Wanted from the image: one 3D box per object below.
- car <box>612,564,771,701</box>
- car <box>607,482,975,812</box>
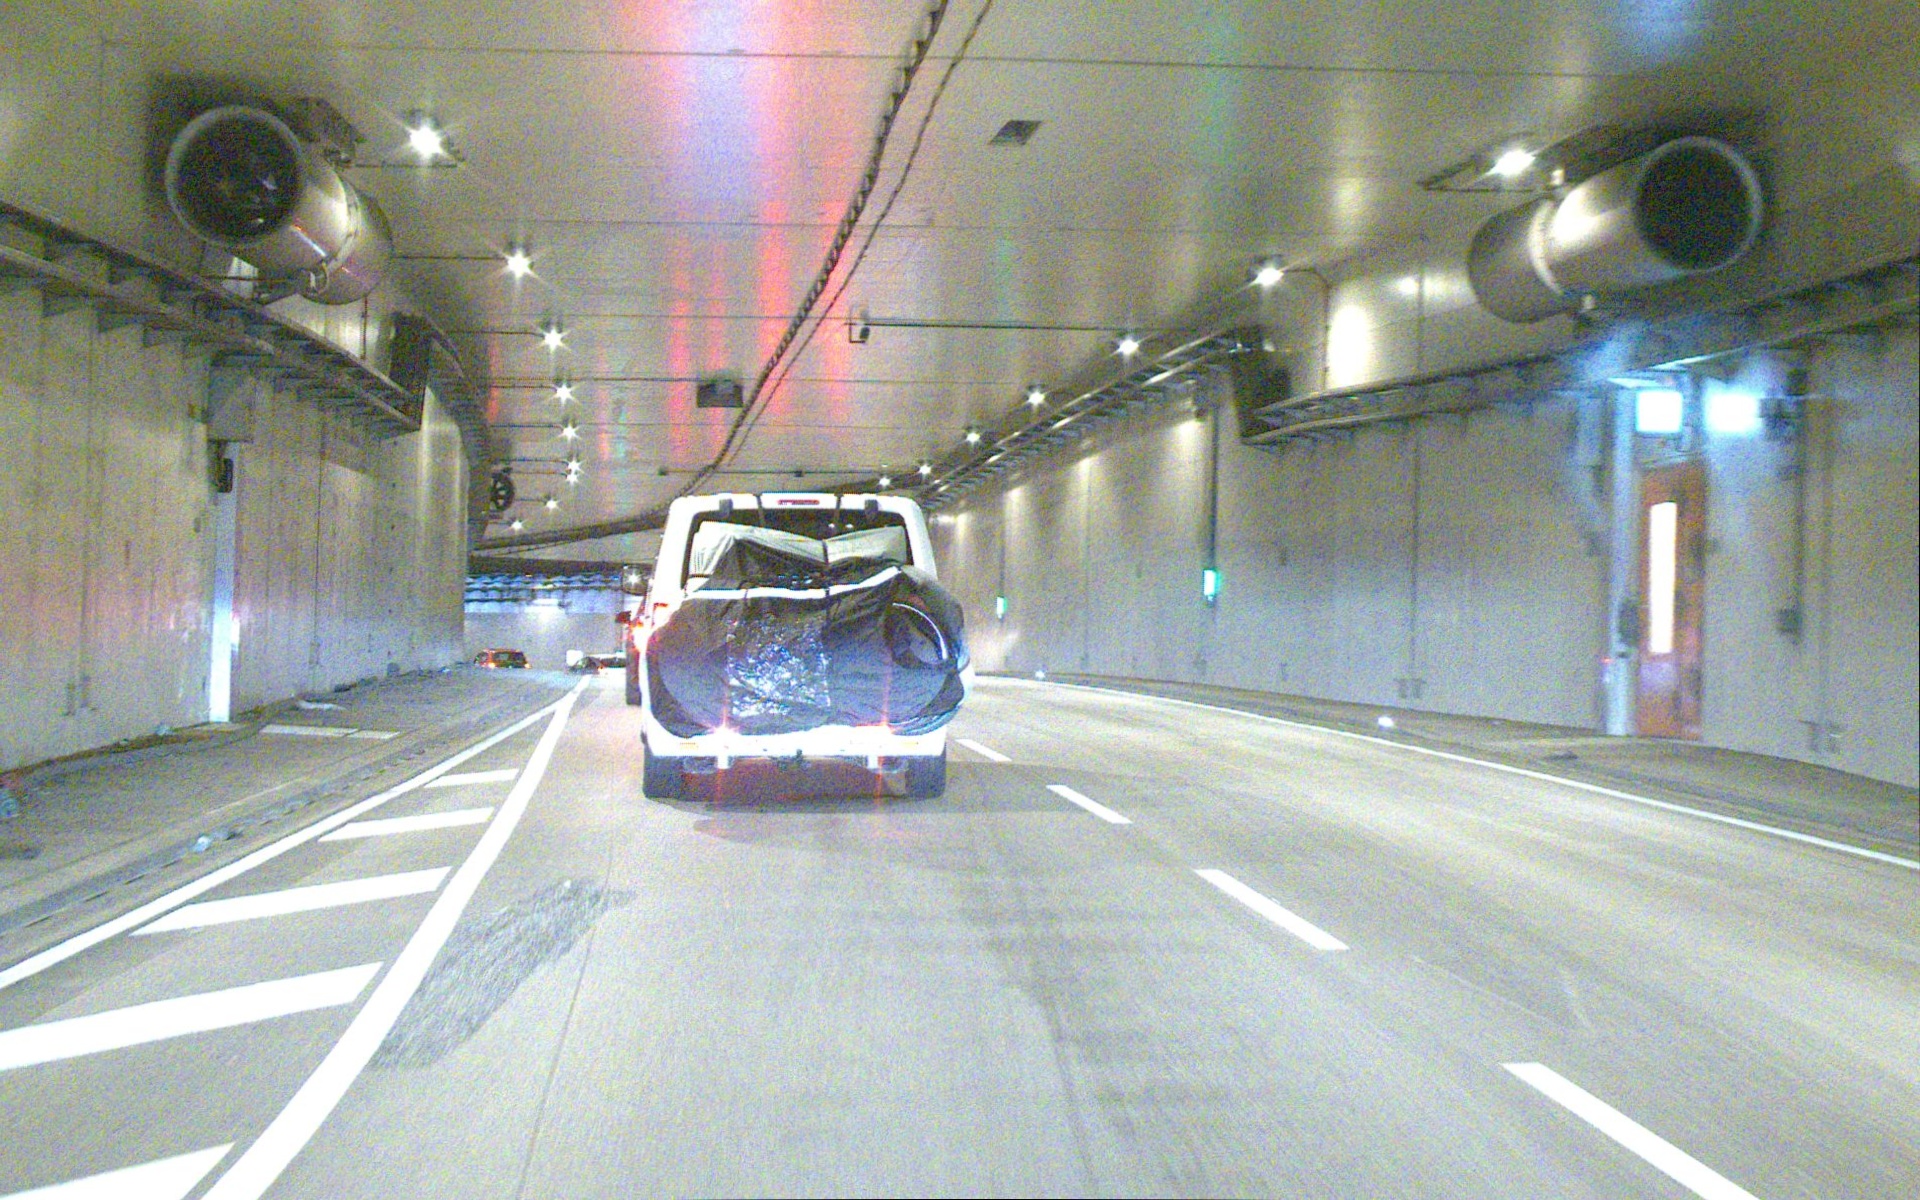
[{"bbox_3d":[-2.963,0.333,37.477,1.602,1.390,3.278,1,0,-6],"label":"car"},{"bbox_3d":[-1.213,0.239,21.893,1.993,1.841,5.302,0,1,-7],"label":"car"}]
